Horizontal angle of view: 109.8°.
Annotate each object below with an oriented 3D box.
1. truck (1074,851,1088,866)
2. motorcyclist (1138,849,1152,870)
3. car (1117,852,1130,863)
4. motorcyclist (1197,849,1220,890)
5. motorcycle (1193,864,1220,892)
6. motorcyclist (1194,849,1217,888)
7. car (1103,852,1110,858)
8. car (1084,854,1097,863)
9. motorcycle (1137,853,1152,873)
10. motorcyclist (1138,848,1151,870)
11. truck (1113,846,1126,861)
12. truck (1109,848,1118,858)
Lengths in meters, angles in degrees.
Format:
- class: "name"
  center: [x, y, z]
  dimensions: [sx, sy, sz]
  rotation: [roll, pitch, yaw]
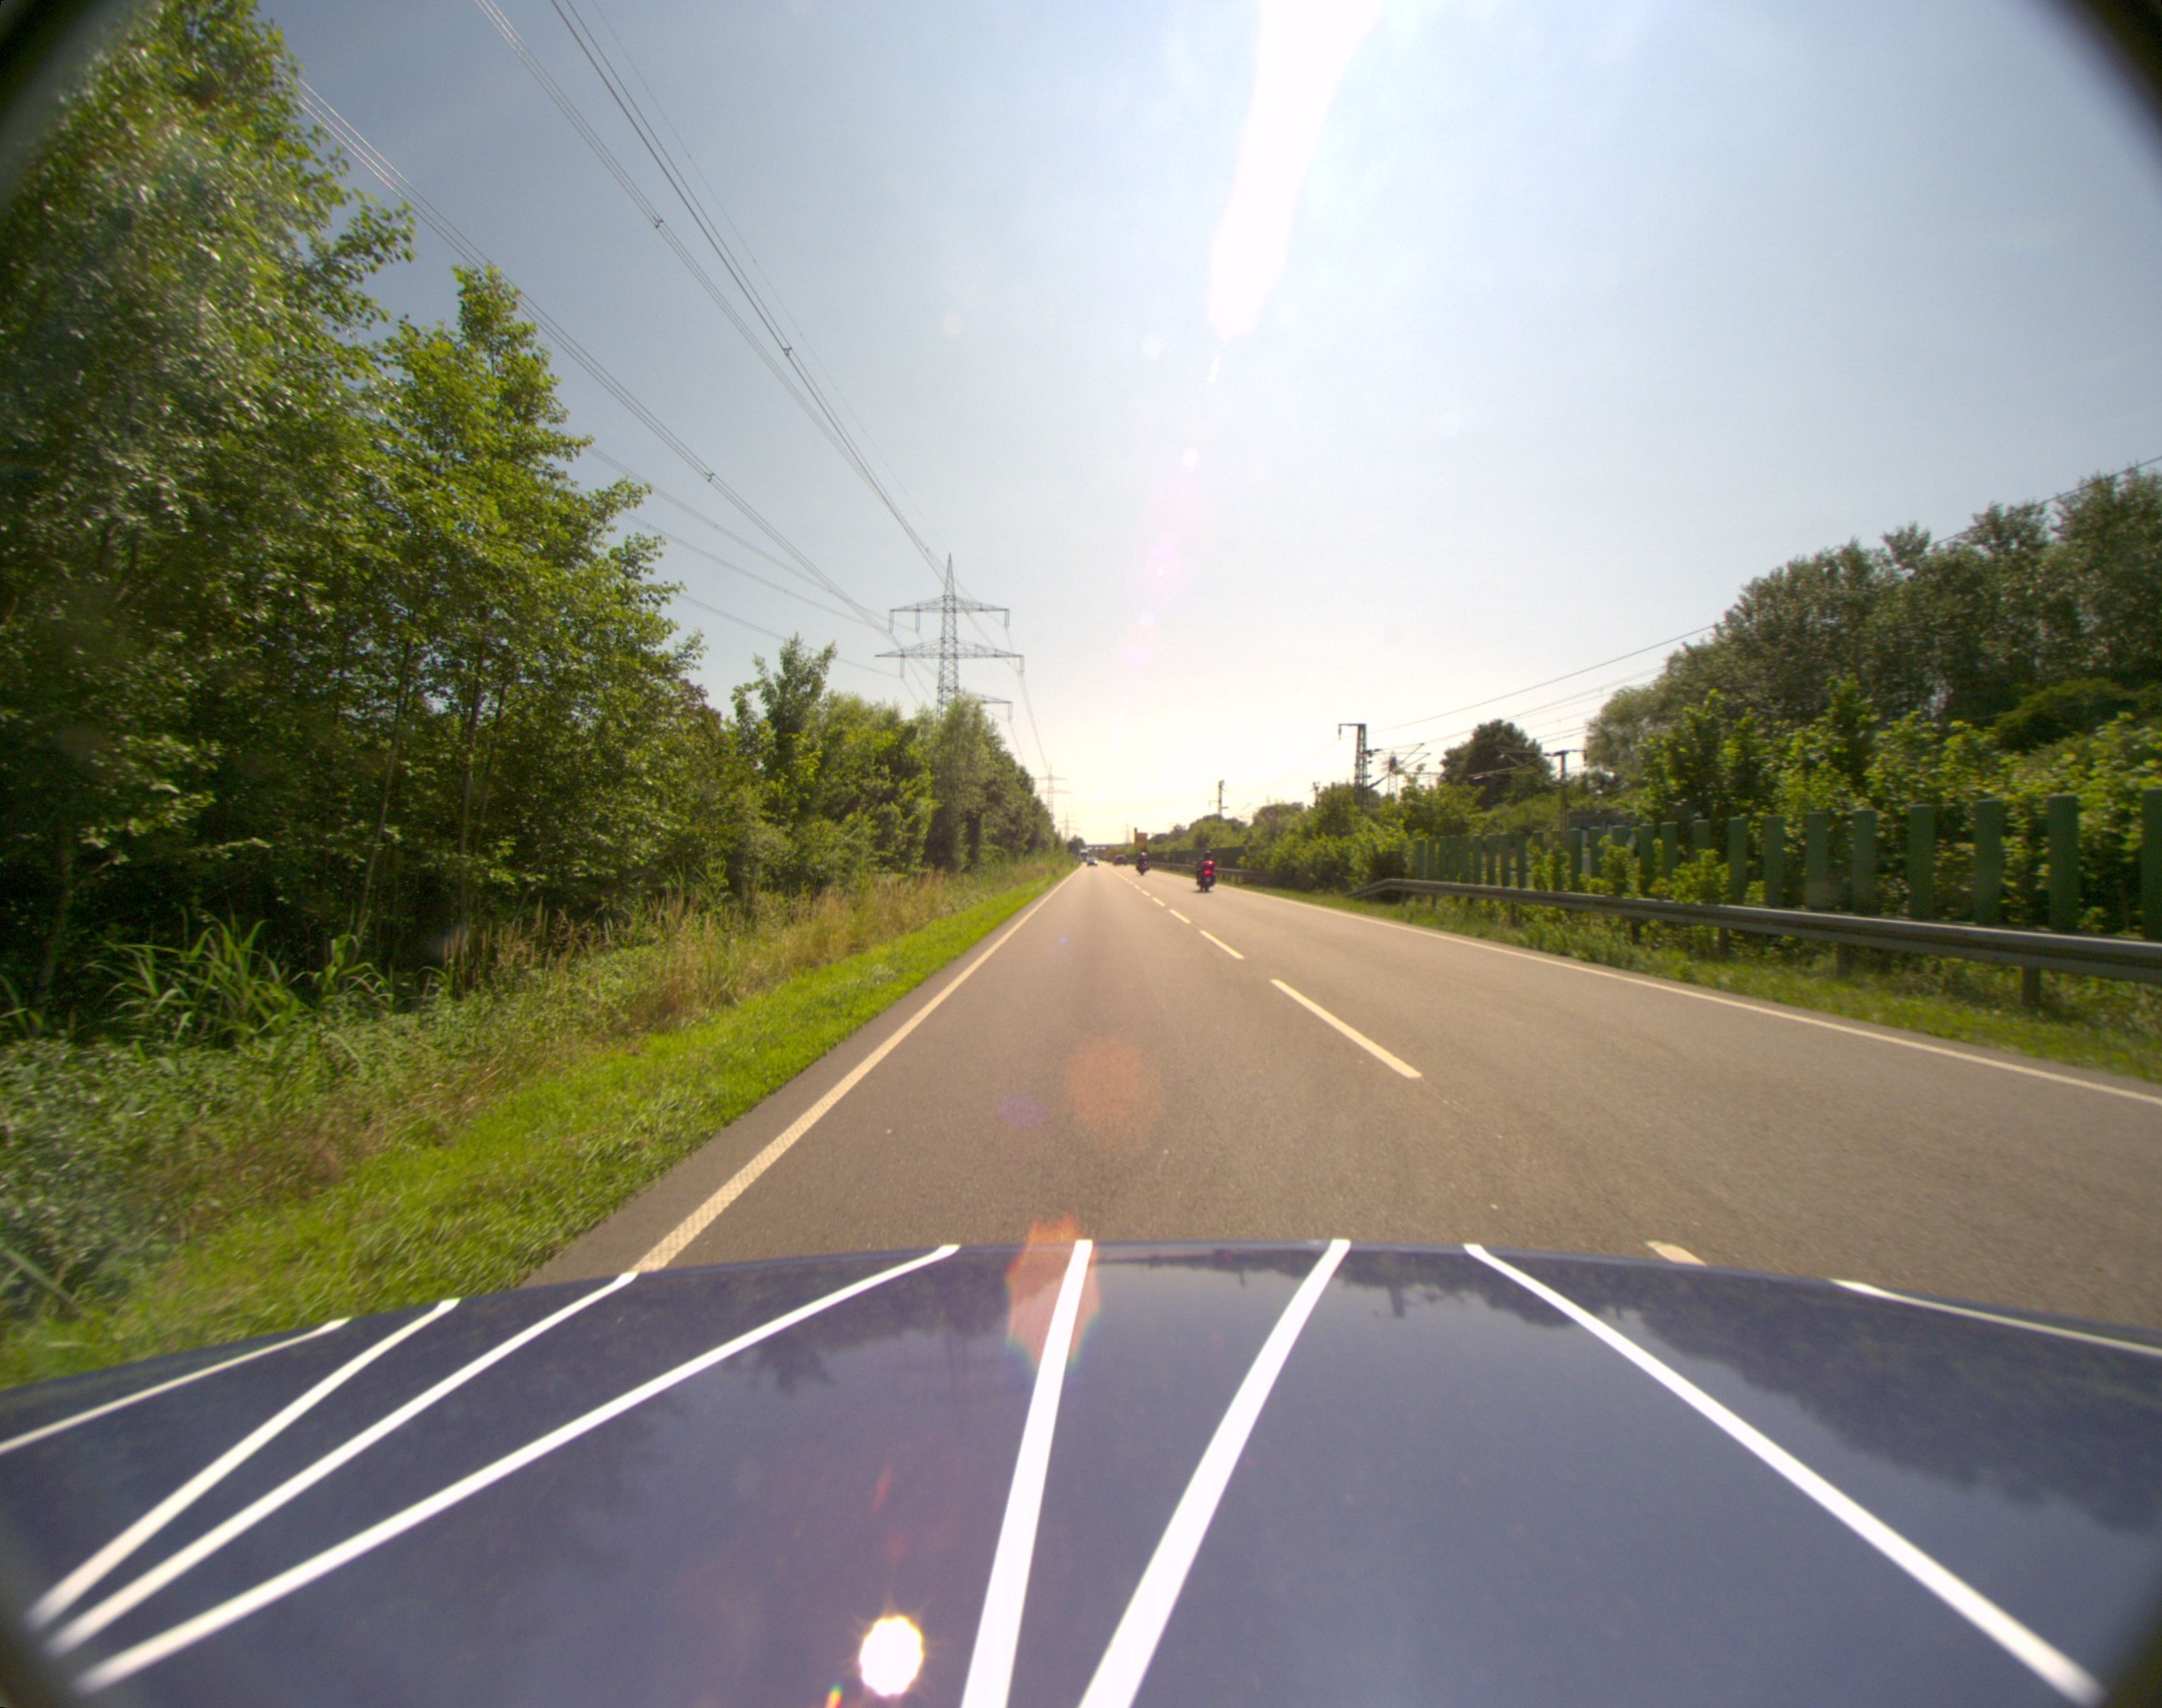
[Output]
- class: "truck"
  center: [0.037, 1.347, 242.409]
  dimensions: [4.219, 4.608, 21.303]
  rotation: [-2, 0, 0]
- class: "motorcyclist"
  center: [4.870, 0.401, 57.974]
  dimensions: [0.961, 1.600, 1.003]
  rotation: [-2, 1, 2]
- class: "car"
  center: [6.745, 0.618, 121.267]
  dimensions: [1.819, 1.684, 4.706]
  rotation: [-1, 0, 1]
- class: "motorcyclist"
  center: [5.147, 0.616, 30.762]
  dimensions: [0.751, 1.574, 0.863]
  rotation: [-2, 1, 2]
- class: "motorcycle"
  center: [5.201, 0.972, 31.704]
  dimensions: [0.756, 1.008, 2.721]
  rotation: [-2, 1, 2]
- class: "motorcyclist"
  center: [5.178, 0.603, 31.707]
  dimensions: [0.760, 1.574, 1.003]
  rotation: [-2, 1, 2]
- class: "car"
  center: [7.482, 0.296, 221.293]
  dimensions: [1.806, 1.578, 4.371]
  rotation: [-1, 0, 1]
- class: "car"
  center: [1.477, 0.658, 121.682]
  dimensions: [1.998, 1.346, 4.157]
  rotation: [-2, 0, 0]
- class: "motorcycle"
  center: [4.911, 0.675, 58.632]
  dimensions: [0.970, 1.487, 2.630]
  rotation: [-2, 1, 2]
- class: "motorcyclist"
  center: [4.914, 0.391, 58.977]
  dimensions: [0.961, 1.600, 1.003]
  rotation: [-2, 1, 2]
- class: "truck"
  center: [7.016, -0.040, 139.588]
  dimensions: [2.085, 2.631, 5.704]
  rotation: [-1, 0, 1]
- class: "truck"
  center: [7.728, -0.245, 181.174]
  dimensions: [1.998, 2.334, 6.012]
  rotation: [-1, 0, 1]
